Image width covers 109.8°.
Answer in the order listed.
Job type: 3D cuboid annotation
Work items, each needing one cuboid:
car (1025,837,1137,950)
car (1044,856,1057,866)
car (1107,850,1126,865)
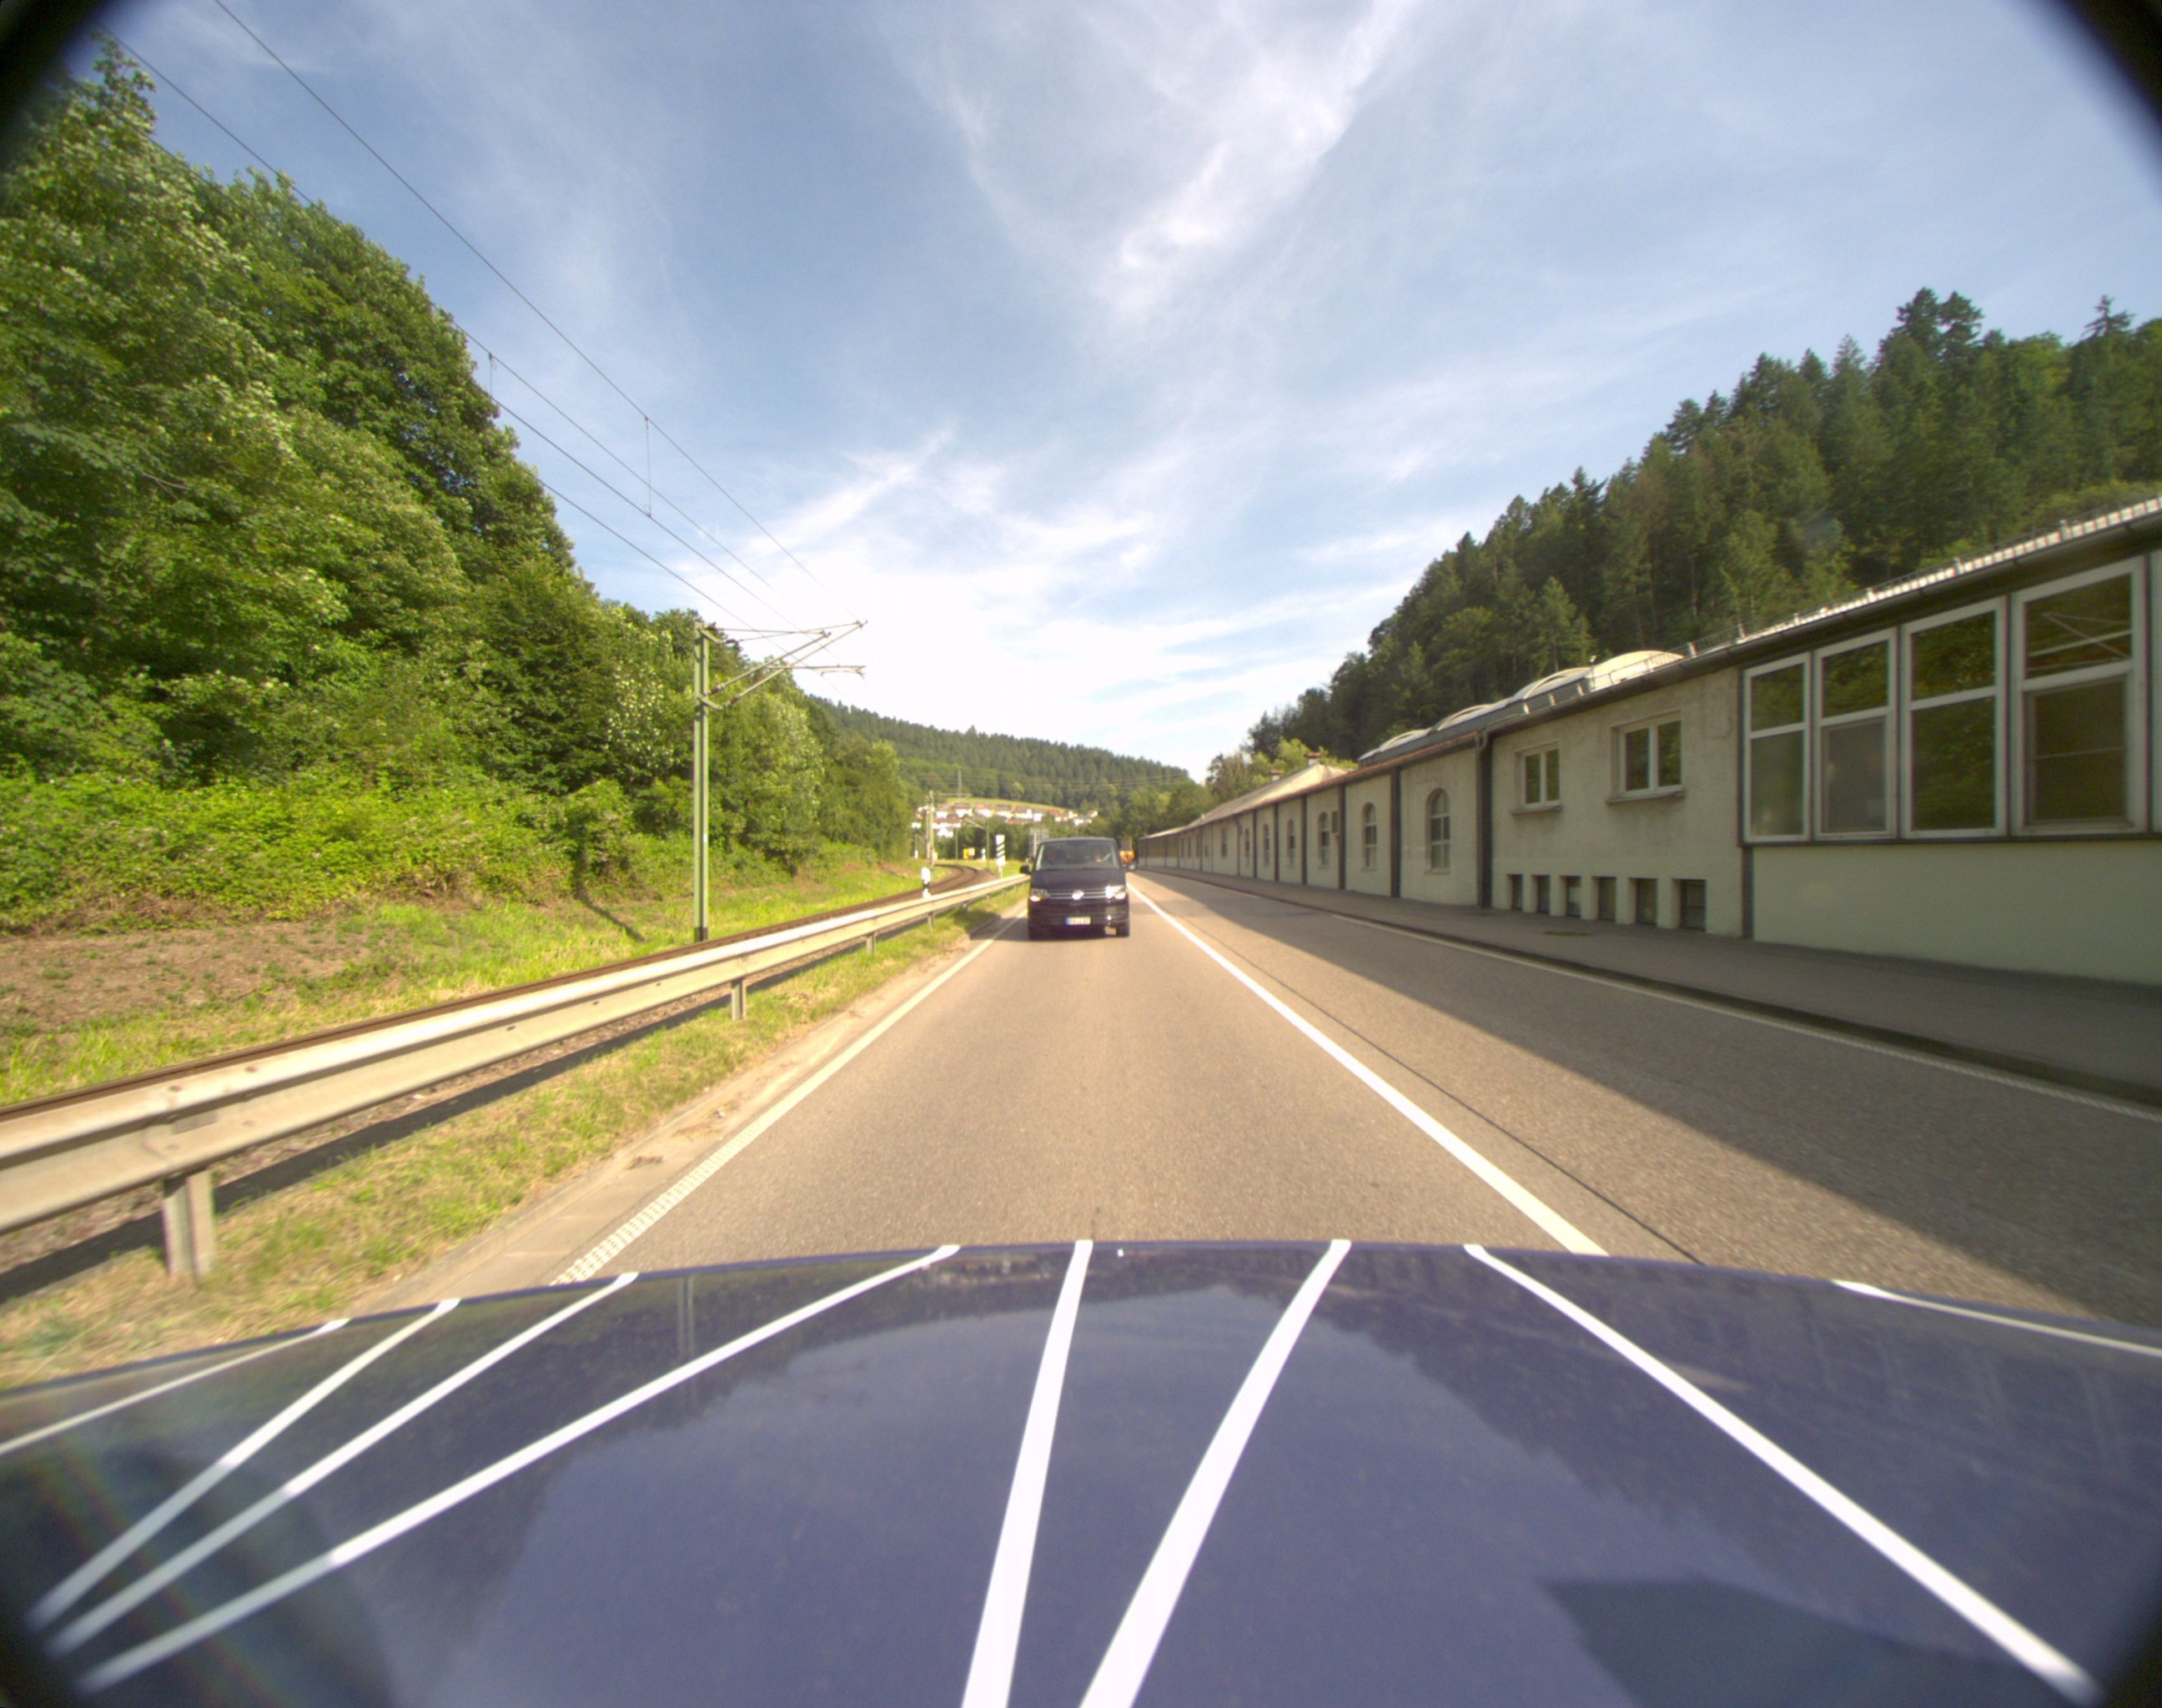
[{"bbox_3d":[-0.091,0.693,15.905,1.901,1.927,5.187,-2,0,-2],"label":"car"},{"bbox_3d":[-5.685,1.280,141.261,1.935,1.572,4.455,-3,0,-6],"label":"car"},{"bbox_3d":[4.054,0.354,86.764,1.934,1.572,4.458,-3,0,1],"label":"car"}]
